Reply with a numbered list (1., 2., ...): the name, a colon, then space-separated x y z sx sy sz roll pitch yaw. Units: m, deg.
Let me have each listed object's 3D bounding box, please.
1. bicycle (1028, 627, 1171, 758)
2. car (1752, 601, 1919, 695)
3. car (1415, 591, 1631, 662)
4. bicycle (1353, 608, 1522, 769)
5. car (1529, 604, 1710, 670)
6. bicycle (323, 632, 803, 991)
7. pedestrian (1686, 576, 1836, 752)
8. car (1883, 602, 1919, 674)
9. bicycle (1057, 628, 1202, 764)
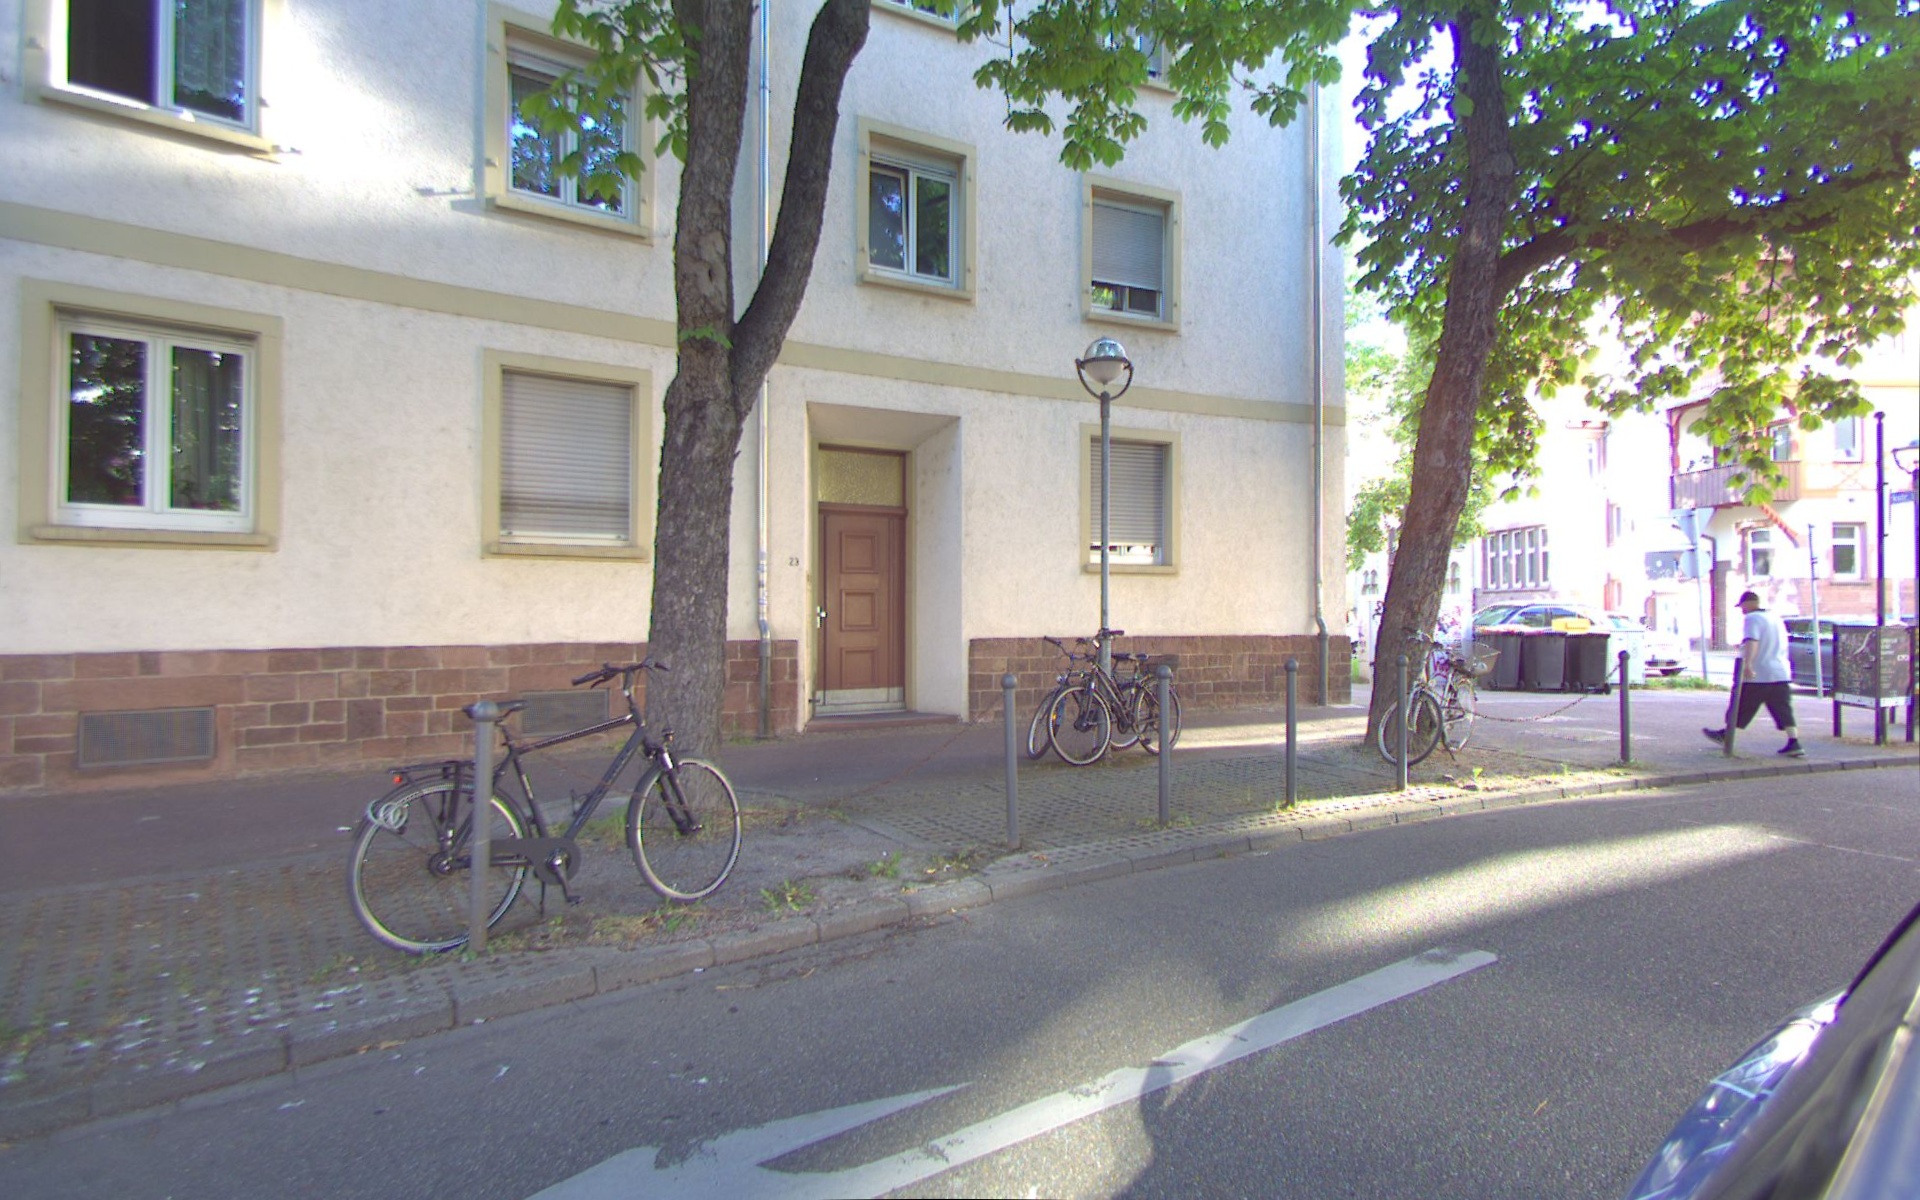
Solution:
1. bicycle: 1.326 0.815 9.404 1.607 1.108 0.334 0 -1 -41
2. car: 16.851 0.826 18.339 1.663 1.572 4.053 0 -1 -3
3. car: 12.006 0.550 21.715 3.728 1.443 1.677 0 -1 -5
4. bicycle: 4.416 0.738 9.296 1.871 1.321 0.766 0 -1 -43
5. car: 16.900 0.915 26.209 1.771 1.572 4.187 0 -1 -3
6. bicycle: -1.695 0.790 4.557 1.882 1.238 0.718 0 -1 -43
7. pedestrian: 7.967 0.595 10.090 0.630 1.612 0.946 0 3 -33
8. car: 21.600 0.825 21.219 1.463 1.559 3.217 1 0 -3
9. bicycle: 1.551 0.817 9.104 1.607 1.108 0.334 0 -1 -41
